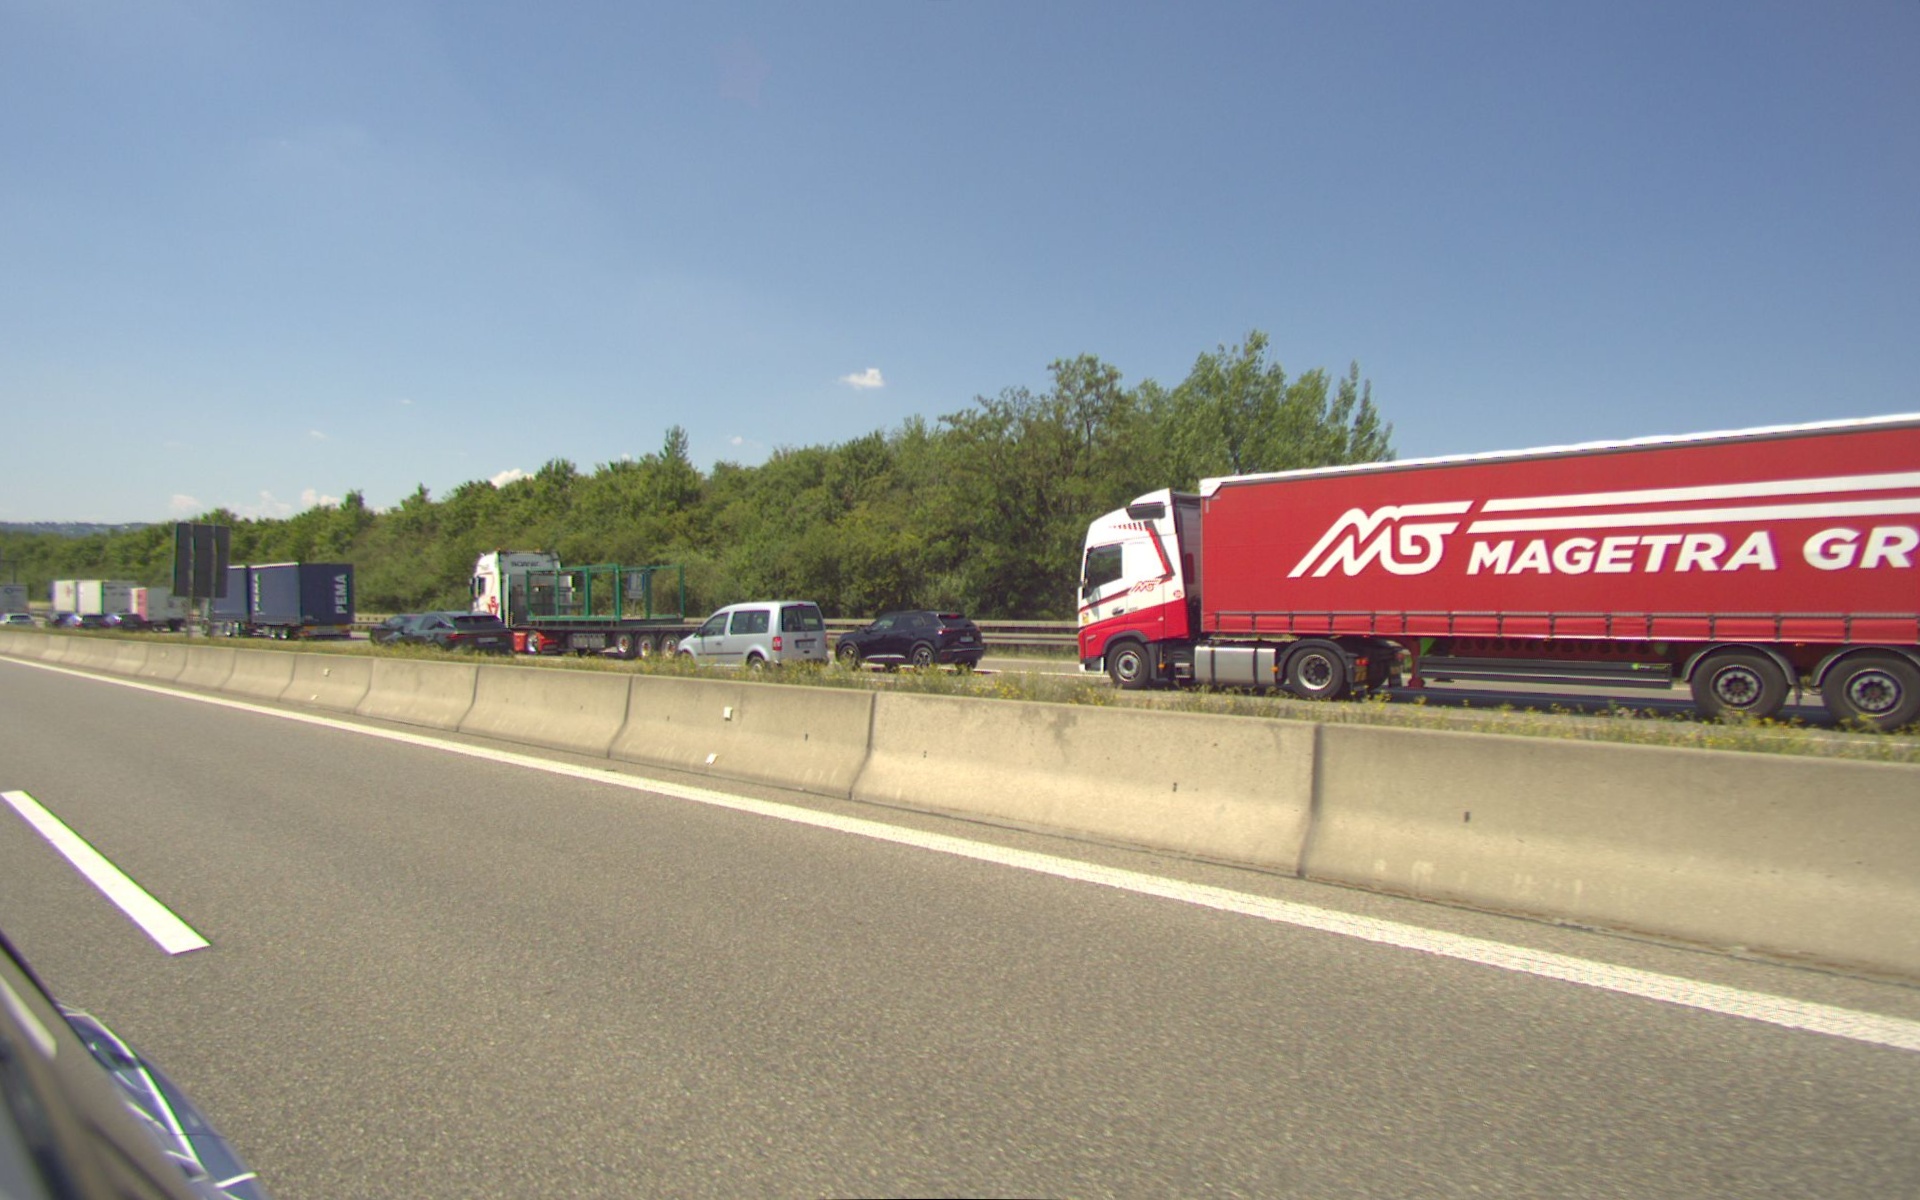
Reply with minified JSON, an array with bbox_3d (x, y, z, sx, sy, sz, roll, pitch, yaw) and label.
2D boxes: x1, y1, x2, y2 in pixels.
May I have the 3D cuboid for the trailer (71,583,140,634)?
[{"bbox_3d":[-71.318,0.735,84.442,8.221,4.103,2.891,-1,-2,39],"label":"trailer"}]

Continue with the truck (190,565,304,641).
[{"bbox_3d":[-43.283,0.261,61.240,10.724,4.266,2.971,-1,-1,40],"label":"truck"}]

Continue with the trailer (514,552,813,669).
[{"bbox_3d":[-10.156,0.367,33.121,12.773,3.230,2.829,-1,0,40],"label":"trailer"}]

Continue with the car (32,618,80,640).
[{"bbox_3d":[-68.896,2.165,77.099,4.767,1.539,1.974,-1,0,39],"label":"car"}]

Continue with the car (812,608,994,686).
[{"bbox_3d":[-1.520,1.114,25.681,4.601,1.643,1.819,2,1,40],"label":"car"}]

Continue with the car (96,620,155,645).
[{"bbox_3d":[-53.522,2.065,64.884,5.165,1.466,1.974,-1,-1,39],"label":"car"}]

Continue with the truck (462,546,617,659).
[{"bbox_3d":[-15.905,0.128,38.082,6.173,3.906,2.872,-1,0,40],"label":"truck"}]

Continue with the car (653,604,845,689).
[{"bbox_3d":[-5.060,1.028,23.867,4.758,1.785,1.894,-1,0,40],"label":"car"}]

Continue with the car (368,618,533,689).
[{"bbox_3d":[-13.731,1.356,27.143,5.251,1.708,2.028,-1,0,40],"label":"car"}]

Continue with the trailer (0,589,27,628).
[{"bbox_3d":[-105.915,0.913,111.073,14.425,4.117,2.875,0,-1,38],"label":"trailer"}]

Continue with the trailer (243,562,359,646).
[{"bbox_3d":[-35.821,0.268,54.864,8.588,4.224,2.955,-1,-1,40],"label":"trailer"}]

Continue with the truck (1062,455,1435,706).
[{"bbox_3d":[5.464,-0.283,19.814,6.312,4.112,3.004,-1,-1,41],"label":"truck"}]

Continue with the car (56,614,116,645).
[{"bbox_3d":[-48.780,1.636,56.456,4.550,1.595,1.819,-1,-1,40],"label":"car"}]

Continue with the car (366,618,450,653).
[{"bbox_3d":[-24.401,1.539,44.678,4.644,1.442,1.640,-1,-1,39],"label":"car"}]

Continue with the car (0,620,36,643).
[{"bbox_3d":[-66.006,2.170,70.461,4.871,1.294,1.819,2,1,40],"label":"car"}]

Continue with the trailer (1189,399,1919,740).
[{"bbox_3d":[10.644,-0.331,15.223,14.377,4.131,3.053,-1,-1,42],"label":"trailer"}]

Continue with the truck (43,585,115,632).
[{"bbox_3d":[-78.814,0.805,90.421,11.233,3.928,2.815,-1,-2,39],"label":"truck"}]

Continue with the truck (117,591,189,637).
[{"bbox_3d":[-59.133,1.012,74.054,7.579,3.232,2.514,-1,-1,39],"label":"truck"}]
